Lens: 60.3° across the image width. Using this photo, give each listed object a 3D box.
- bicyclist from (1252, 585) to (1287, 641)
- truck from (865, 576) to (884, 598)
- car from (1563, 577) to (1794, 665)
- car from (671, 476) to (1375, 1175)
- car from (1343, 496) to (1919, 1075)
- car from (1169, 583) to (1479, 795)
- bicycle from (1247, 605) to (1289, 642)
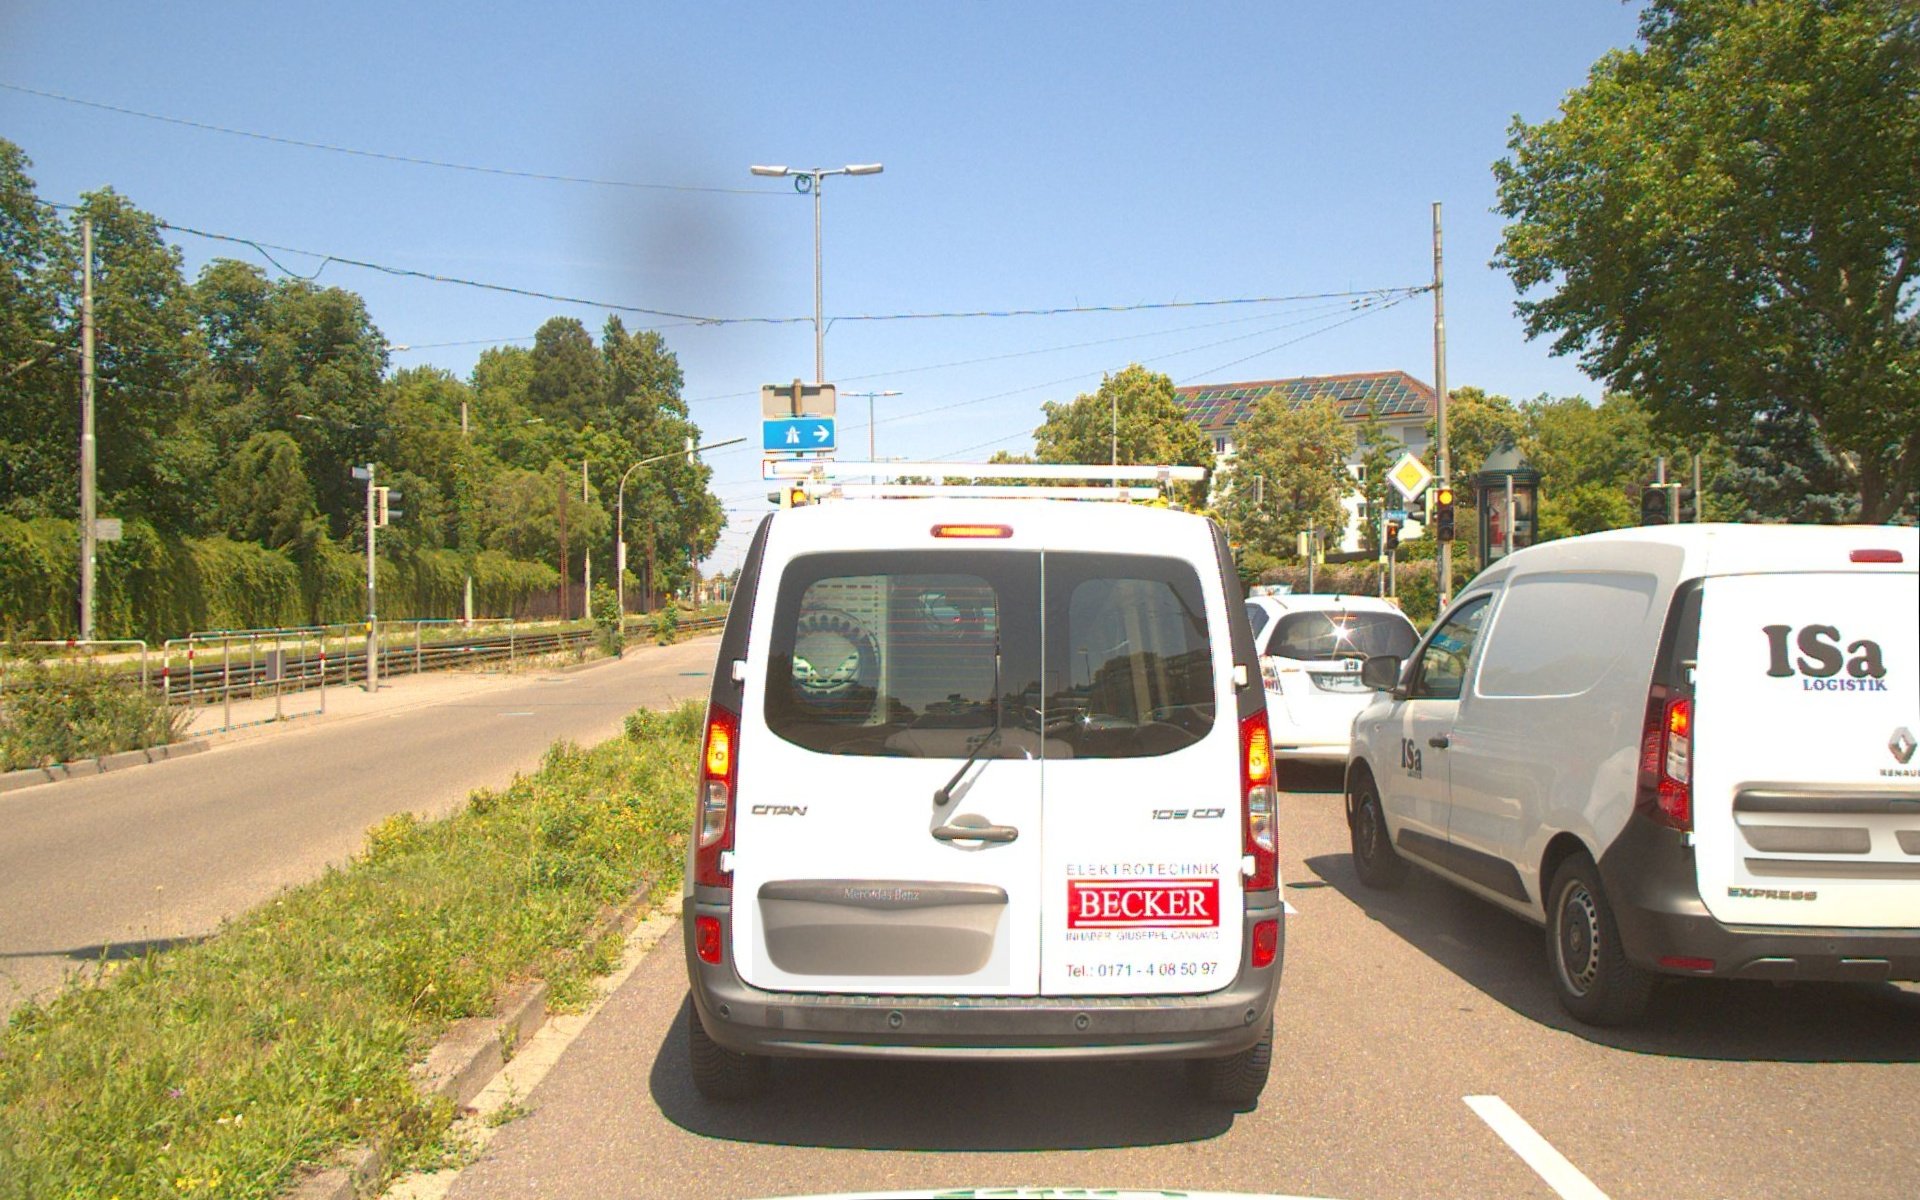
[{"bbox_3d":[10.226,0.431,54.631,0.954,1.819,0.725,0,0,-6],"label":"bicyclist"},{"bbox_3d":[-10.272,-1.541,199.163,2.095,2.633,5.888,1,0,-1],"label":"truck"},{"bbox_3d":[14.044,0.387,32.531,3.902,1.625,1.701,1,1,12],"label":"car"},{"bbox_3d":[0.134,0.580,6.414,1.784,1.770,4.395,0,0,-1],"label":"car"},{"bbox_3d":[3.069,0.595,7.276,1.693,1.819,4.063,1,0,-2],"label":"car"},{"bbox_3d":[3.047,0.662,14.684,1.798,1.596,3.999,1,1,-1],"label":"car"},{"bbox_3d":[10.182,0.774,54.722,0.875,1.179,1.954,0,0,-5],"label":"bicycle"}]
